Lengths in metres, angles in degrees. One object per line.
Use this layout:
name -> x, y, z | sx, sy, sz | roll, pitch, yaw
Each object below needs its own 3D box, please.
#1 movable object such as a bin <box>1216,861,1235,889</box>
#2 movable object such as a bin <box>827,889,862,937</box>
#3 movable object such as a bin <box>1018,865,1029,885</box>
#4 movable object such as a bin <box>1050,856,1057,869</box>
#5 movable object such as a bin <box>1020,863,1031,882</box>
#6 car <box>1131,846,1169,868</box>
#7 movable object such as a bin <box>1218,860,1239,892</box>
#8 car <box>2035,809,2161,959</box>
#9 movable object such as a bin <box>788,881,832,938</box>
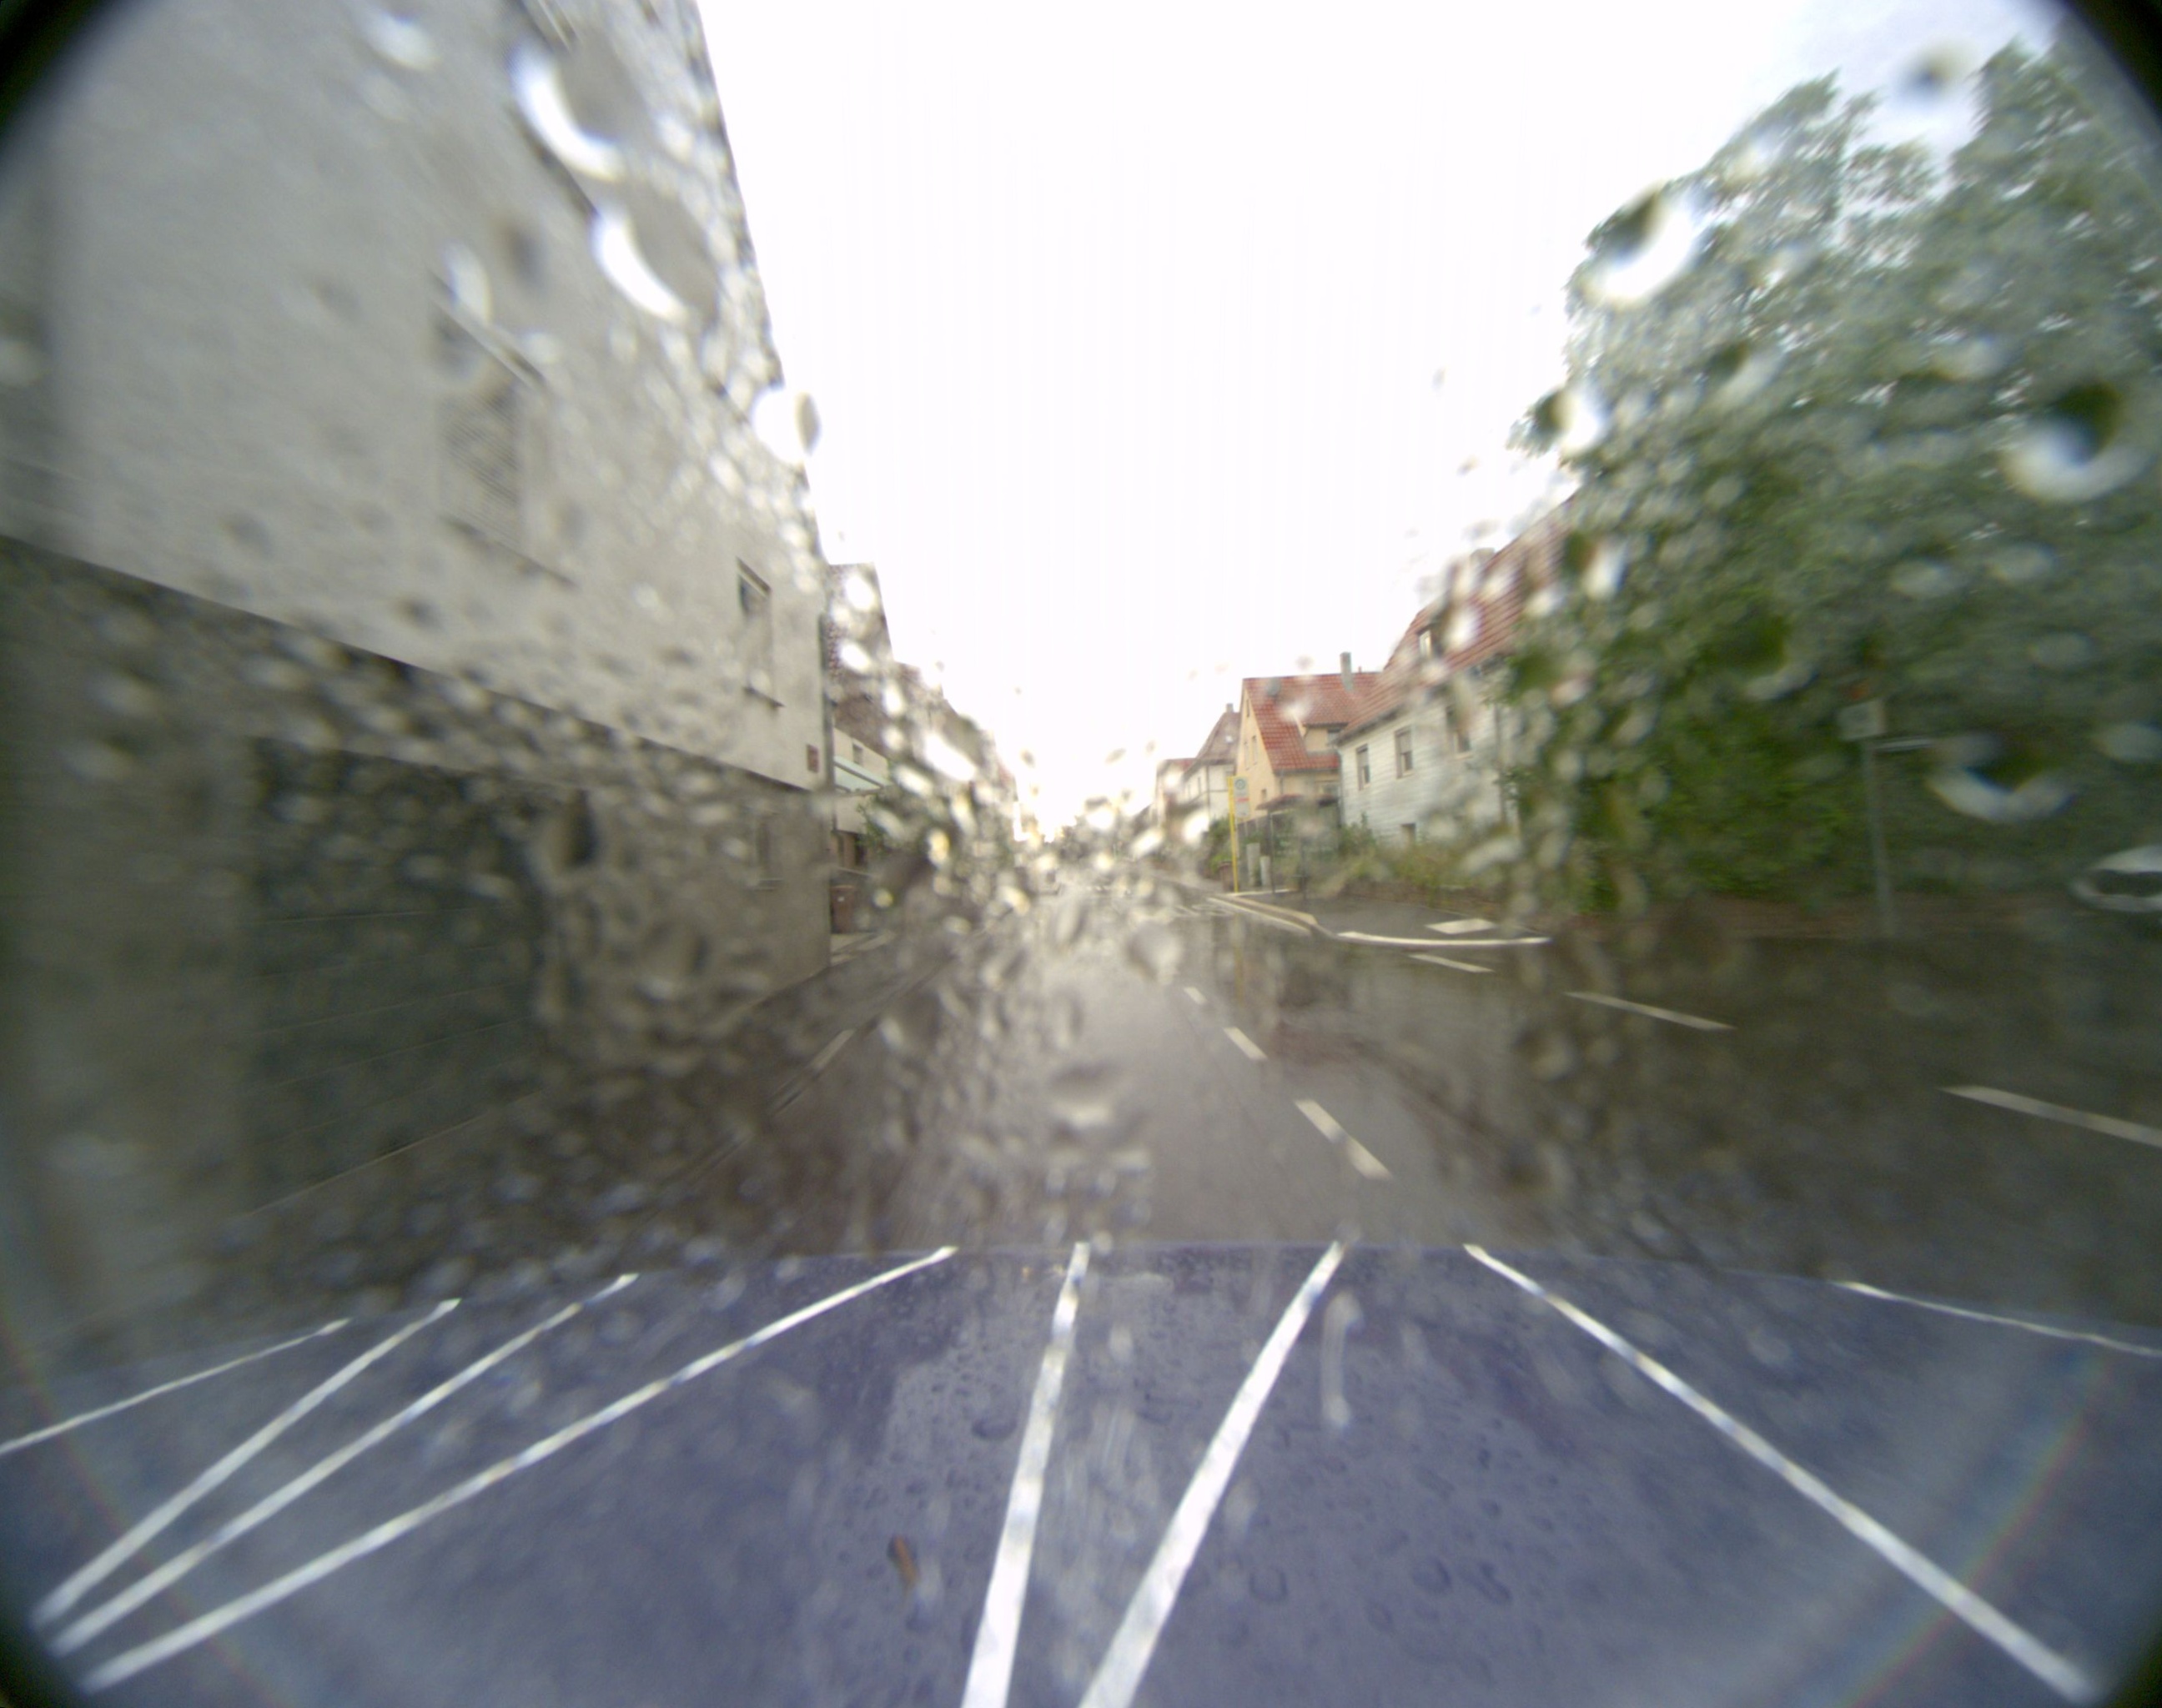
movable object such as a bin -> 5.024, 0.728, 26.383 | 0.469, 0.933, 0.455 | -6, -2, 2
movable object such as a bin -> -4.666, 1.163, 15.016 | 0.494, 0.899, 0.476 | -3, 1, 1
movable object such as a bin -> -3.232, 1.189, 42.806 | 0.569, 1.070, 0.523 | -3, 1, -2
movable object such as a bin -> -2.583, 0.787, 71.457 | 0.569, 1.179, 0.537 | -2, 1, -2
movable object such as a bin -> -3.178, 1.044, 43.769 | 0.569, 1.070, 0.537 | -3, 1, -2
car -> 8.237, 0.374, 90.631 | 3.999, 1.963, 1.873 | 9, 0, -3
movable object such as a bin -> 5.223, 0.785, 26.960 | 0.554, 1.076, 0.527 | -6, 0, 2
car -> 12.446, 0.158, 7.087 | 4.233, 1.410, 1.718 | -4, 0, 13
movable object such as a bin -> -5.310, 1.084, 14.931 | 0.620, 1.055, 0.526 | -3, 1, 1
